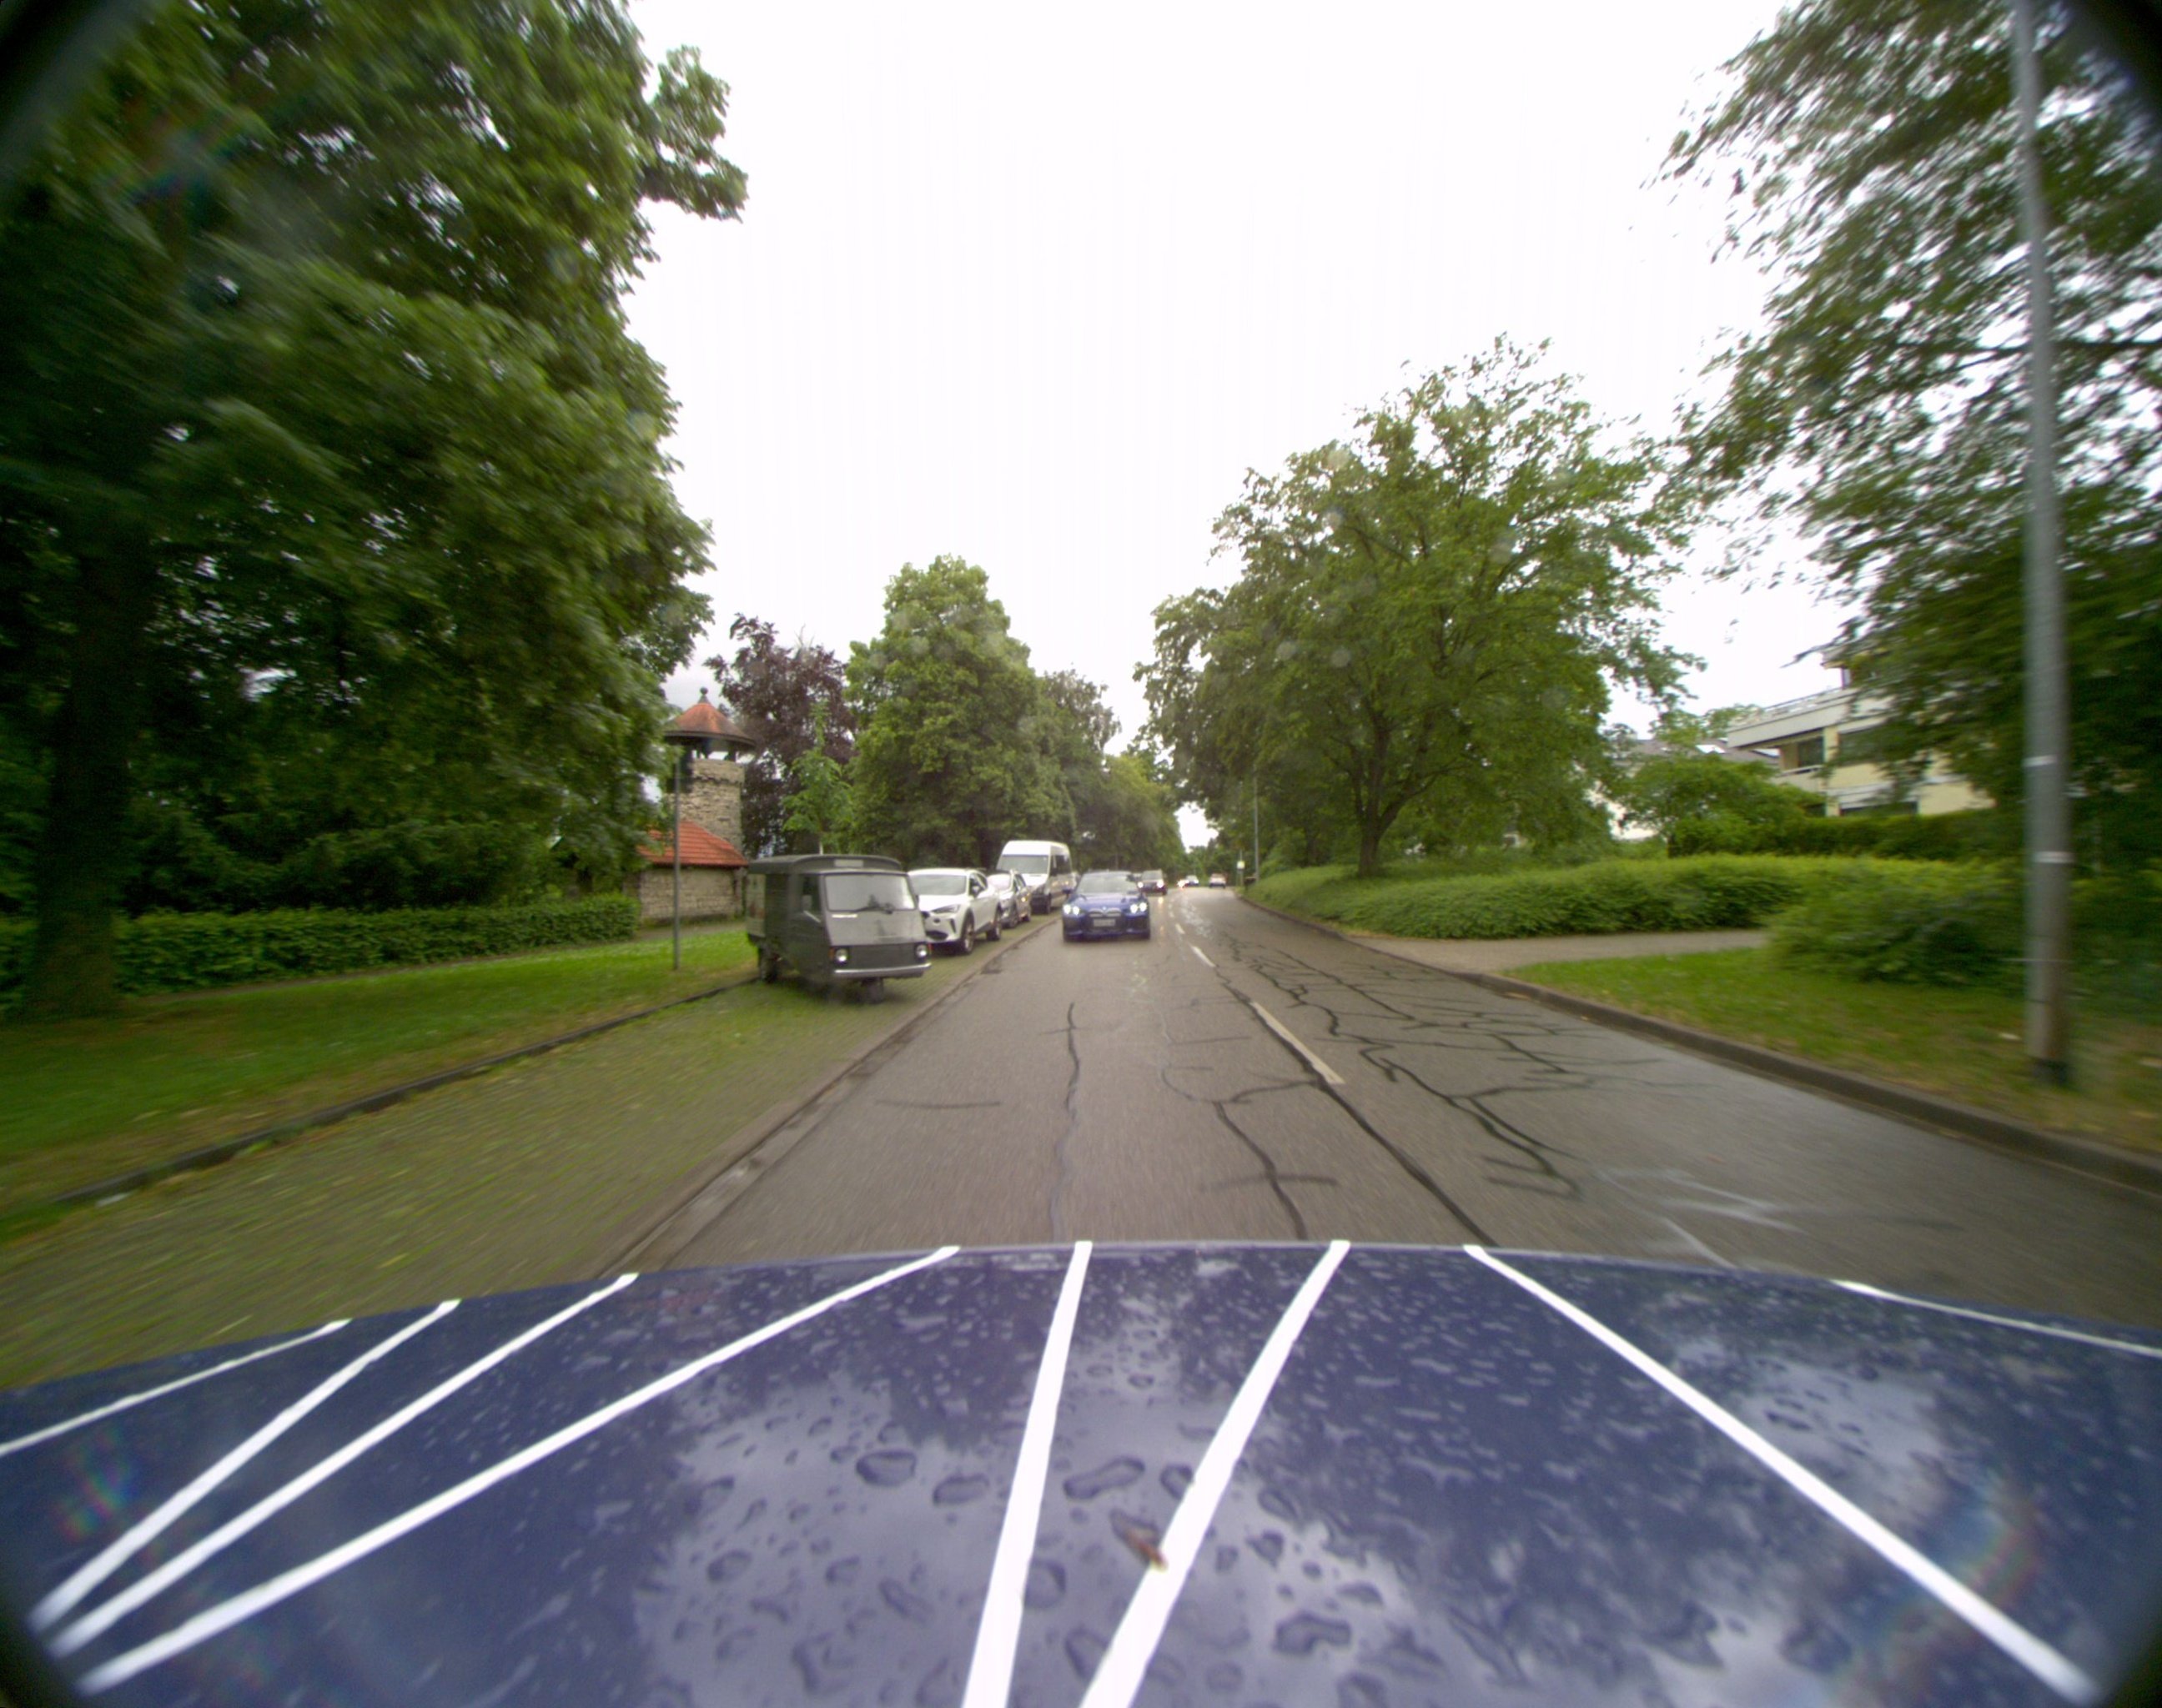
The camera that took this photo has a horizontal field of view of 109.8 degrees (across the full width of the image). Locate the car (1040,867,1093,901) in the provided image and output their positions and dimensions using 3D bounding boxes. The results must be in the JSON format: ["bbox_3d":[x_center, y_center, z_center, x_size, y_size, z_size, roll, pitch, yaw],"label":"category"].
[{"bbox_3d":[-0.630,1.406,36.059,1.868,1.502,3.728,0,-1,9],"label":"car"}]

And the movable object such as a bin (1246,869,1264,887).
[{"bbox_3d":[10.913,1.486,47.709,1.039,1.098,0.967,-3,-1,12],"label":"movable object such as a bin"}]

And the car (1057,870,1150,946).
[{"bbox_3d":[0.397,1.169,17.297,1.839,1.501,4.001,-1,-2,-2],"label":"car"}]

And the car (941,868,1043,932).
[{"bbox_3d":[-2.313,1.175,20.908,1.808,1.530,4.270,0,-1,7],"label":"car"}]

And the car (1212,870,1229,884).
[{"bbox_3d":[15.103,2.476,82.026,1.668,1.468,3.736,1,-1,11],"label":"car"}]

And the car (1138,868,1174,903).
[{"bbox_3d":[4.602,1.922,46.249,1.997,2.001,4.004,-1,-2,8],"label":"car"}]

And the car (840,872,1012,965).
[{"bbox_3d":[-2.743,1.114,14.690,1.998,1.488,4.569,0,-1,6],"label":"car"}]

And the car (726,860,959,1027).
[{"bbox_3d":[-3.278,0.939,9.905,1.615,1.671,3.996,0,1,-38],"label":"car"}]

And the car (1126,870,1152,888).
[{"bbox_3d":[5.060,2.115,65.484,1.703,1.453,4.222,0,-1,12],"label":"car"}]

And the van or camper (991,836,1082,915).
[{"bbox_3d":[-1.457,0.812,29.081,2.020,2.567,8.442,0,-2,6],"label":"van or camper"}]

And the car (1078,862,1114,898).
[{"bbox_3d":[0.990,1.693,47.739,1.785,1.706,4.269,-5,-8,5],"label":"car"}]
